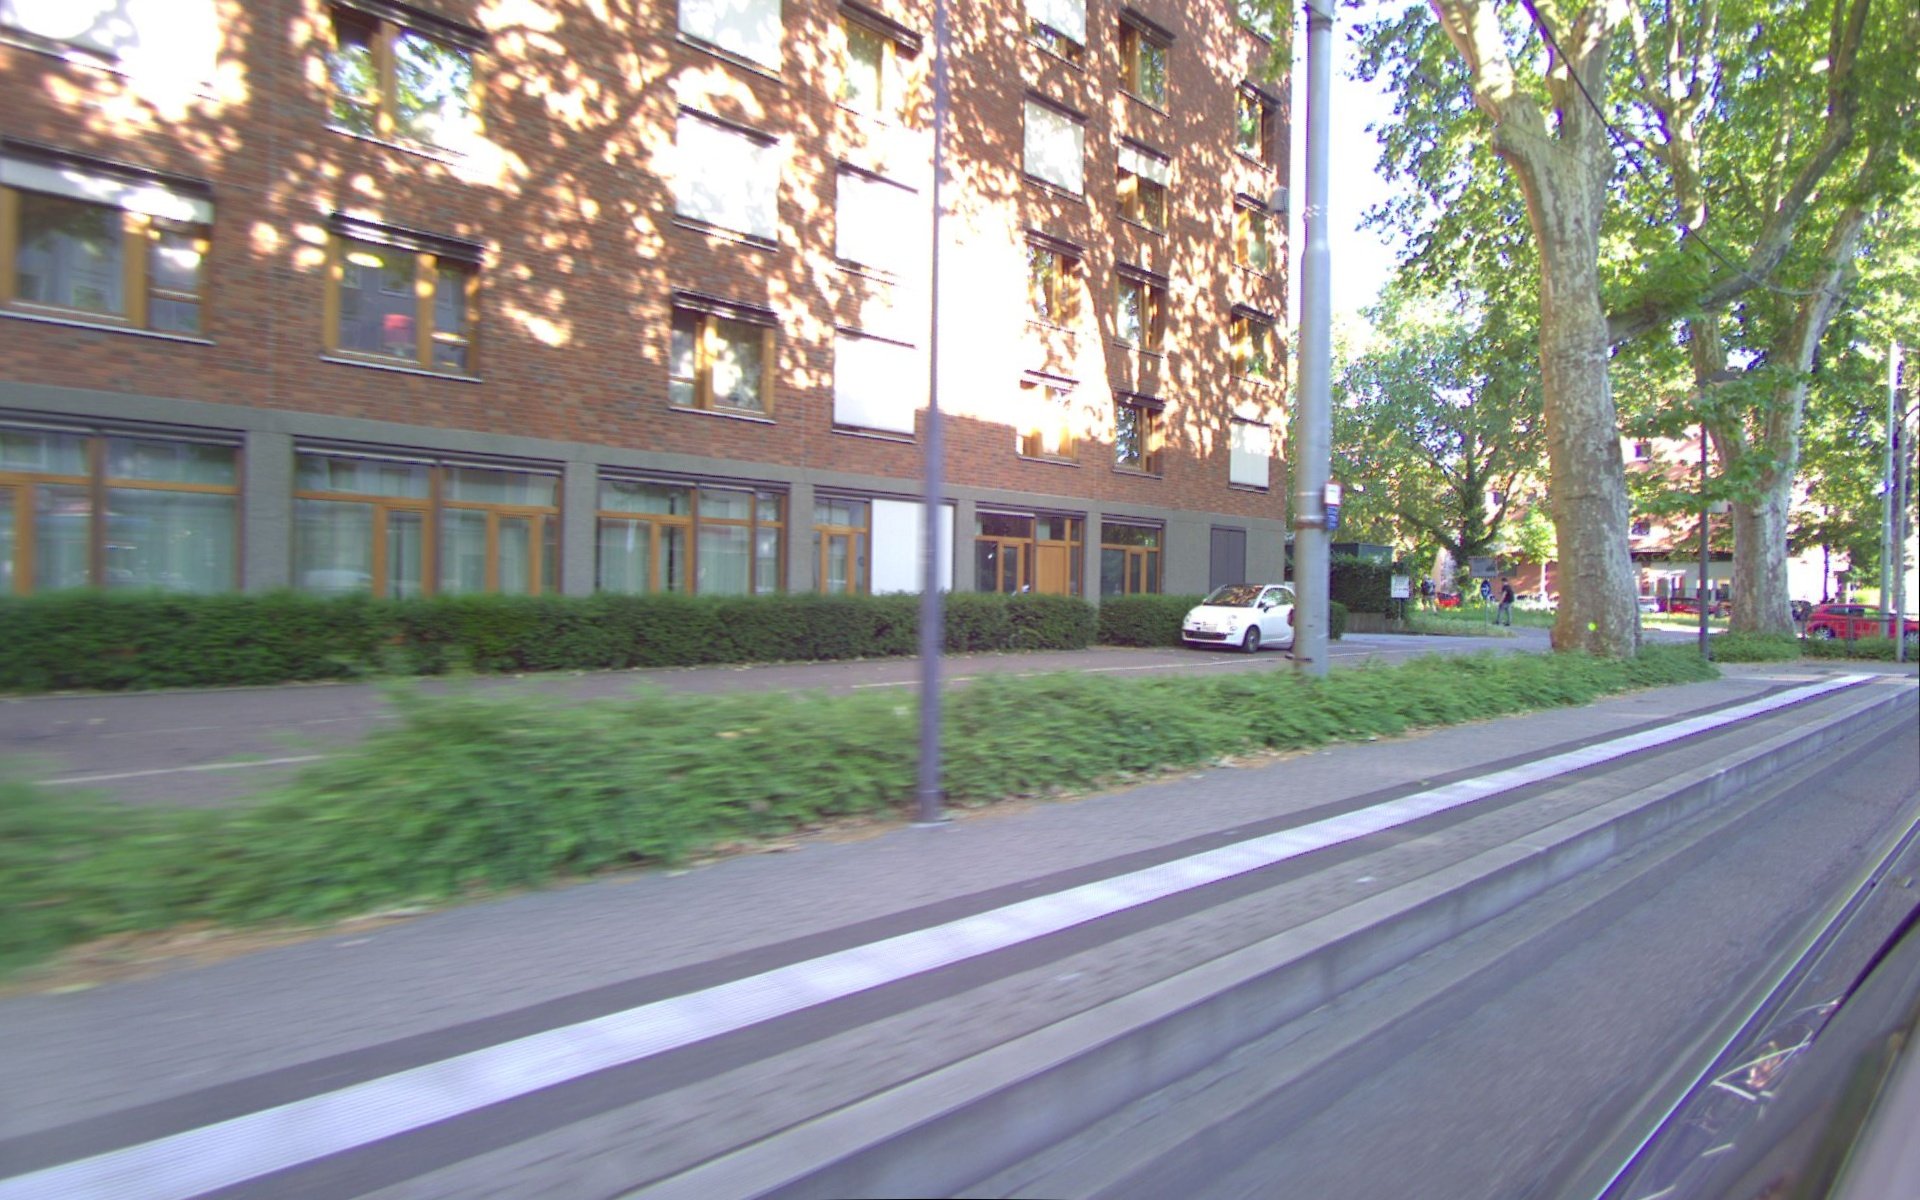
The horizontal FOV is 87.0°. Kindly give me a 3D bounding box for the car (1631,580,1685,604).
[{"bbox_3d":[46.932,-0.552,68.038,3.611,1.549,1.999,0,1,-38],"label":"car"}]

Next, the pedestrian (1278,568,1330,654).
[{"bbox_3d":[6.989,0.209,20.538,0.736,1.712,0.710,0,1,-42],"label":"pedestrian"}]

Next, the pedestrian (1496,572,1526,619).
[{"bbox_3d":[20.663,-0.184,37.947,0.689,1.735,0.691,1,1,-33],"label":"pedestrian"}]

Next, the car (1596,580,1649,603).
[{"bbox_3d":[45.938,-0.598,70.128,3.611,1.549,1.999,0,1,-38],"label":"car"}]

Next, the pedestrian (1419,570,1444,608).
[{"bbox_3d":[19.584,-0.470,42.029,0.689,1.558,0.690,1,1,0],"label":"pedestrian"}]

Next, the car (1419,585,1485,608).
[{"bbox_3d":[34.420,-0.252,70.920,1.964,1.549,3.674,0,1,-39],"label":"car"}]

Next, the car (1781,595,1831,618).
[{"bbox_3d":[59.218,0.453,70.818,3.611,1.549,1.999,0,1,-38],"label":"car"}]

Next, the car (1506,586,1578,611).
[{"bbox_3d":[38.344,-0.128,66.765,1.964,1.549,3.674,0,1,-39],"label":"car"}]

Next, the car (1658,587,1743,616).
[{"bbox_3d":[43.924,0.064,60.076,1.964,1.549,3.674,0,1,-39],"label":"car"}]

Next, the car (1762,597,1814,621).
[{"bbox_3d":[56.035,0.589,68.457,3.611,1.549,1.999,0,1,-38],"label":"car"}]

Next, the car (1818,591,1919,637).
[{"bbox_3d":[33.280,0.487,36.034,1.964,1.549,3.872,0,1,-39],"label":"car"}]

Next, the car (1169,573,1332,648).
[{"bbox_3d":[6.556,0.188,22.656,3.892,1.527,1.657,0,1,-41],"label":"car"}]

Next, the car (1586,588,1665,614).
[{"bbox_3d":[41.436,0.045,63.085,1.964,1.549,3.674,0,1,-39],"label":"car"}]
